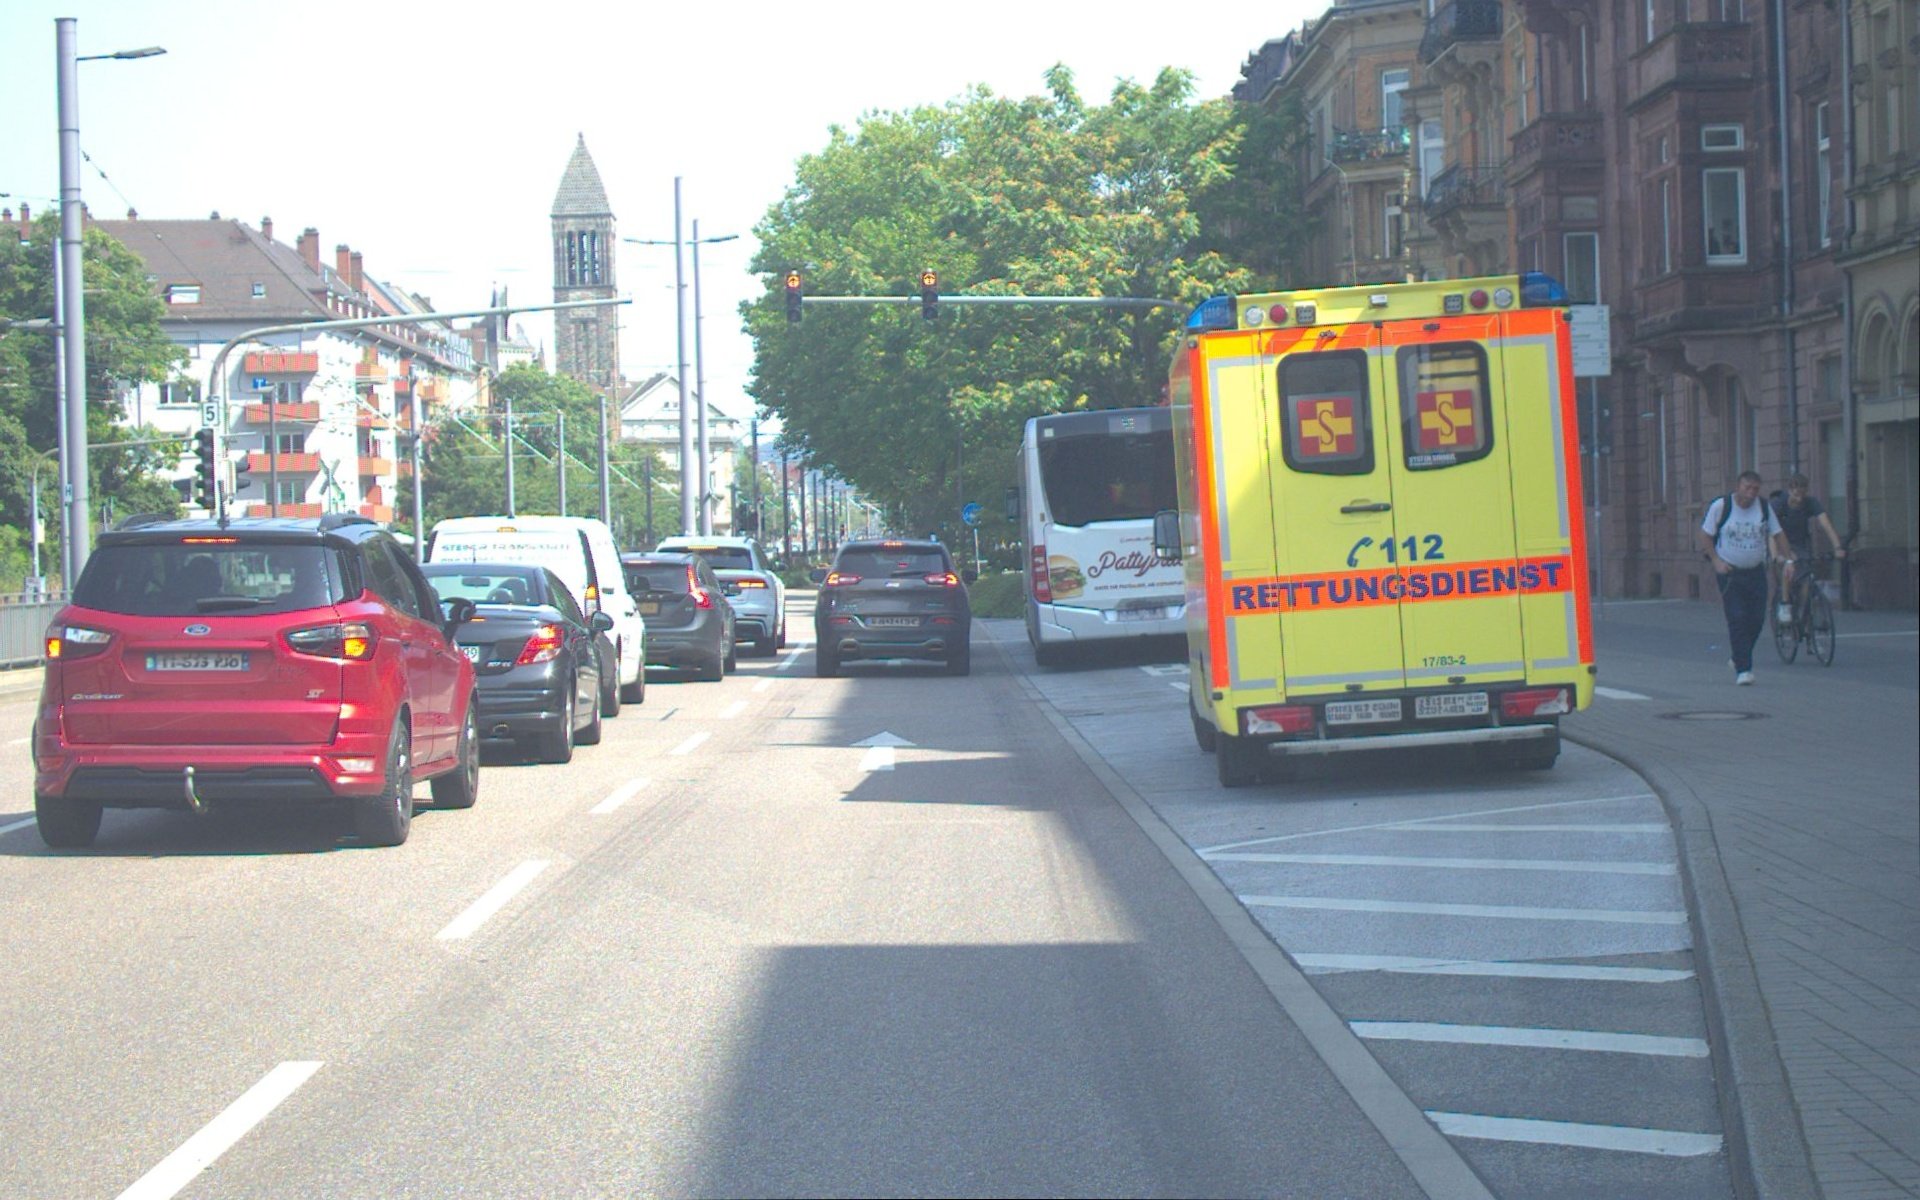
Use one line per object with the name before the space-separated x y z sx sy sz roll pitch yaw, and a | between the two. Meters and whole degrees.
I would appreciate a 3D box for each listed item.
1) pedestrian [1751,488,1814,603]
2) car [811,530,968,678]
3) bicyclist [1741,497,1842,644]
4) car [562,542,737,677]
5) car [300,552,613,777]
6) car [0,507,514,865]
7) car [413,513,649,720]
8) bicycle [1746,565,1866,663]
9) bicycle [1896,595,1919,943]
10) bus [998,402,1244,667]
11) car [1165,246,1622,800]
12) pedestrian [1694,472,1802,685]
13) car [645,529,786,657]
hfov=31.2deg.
pedestrian | 11.637 -0.770 48.655 0.622 1.587 0.696 -2 1 -6
car | -0.883 0.037 41.842 1.790 1.672 4.000 -1 0 -2
bicyclist | 7.653 -0.272 31.649 0.753 1.317 0.582 -2 1 0
car | -3.591 0.100 40.319 1.790 1.467 4.000 -1 0 -2
car | -3.560 0.402 24.937 1.790 1.426 4.001 -2 1 -2
car | -3.535 0.358 17.936 1.762 1.612 4.082 -2 1 1
car | -3.932 0.141 32.089 1.790 1.774 4.000 -1 0 -2
bicycle | 7.756 0.116 31.576 0.589 0.852 1.776 -2 1 -2
bicycle | 3.840 0.513 10.538 1.777 1.068 0.644 -1 1 5
bus | 1.944 -0.859 46.245 2.534 3.021 12.436 -1 1 0
car | 2.494 -0.476 21.282 2.299 2.878 5.599 -3 1 3
pedestrian | 6.231 -0.170 27.181 0.697 1.661 0.602 -1 1 25
car | -3.387 -0.099 48.232 1.790 1.692 4.000 -1 0 -2
